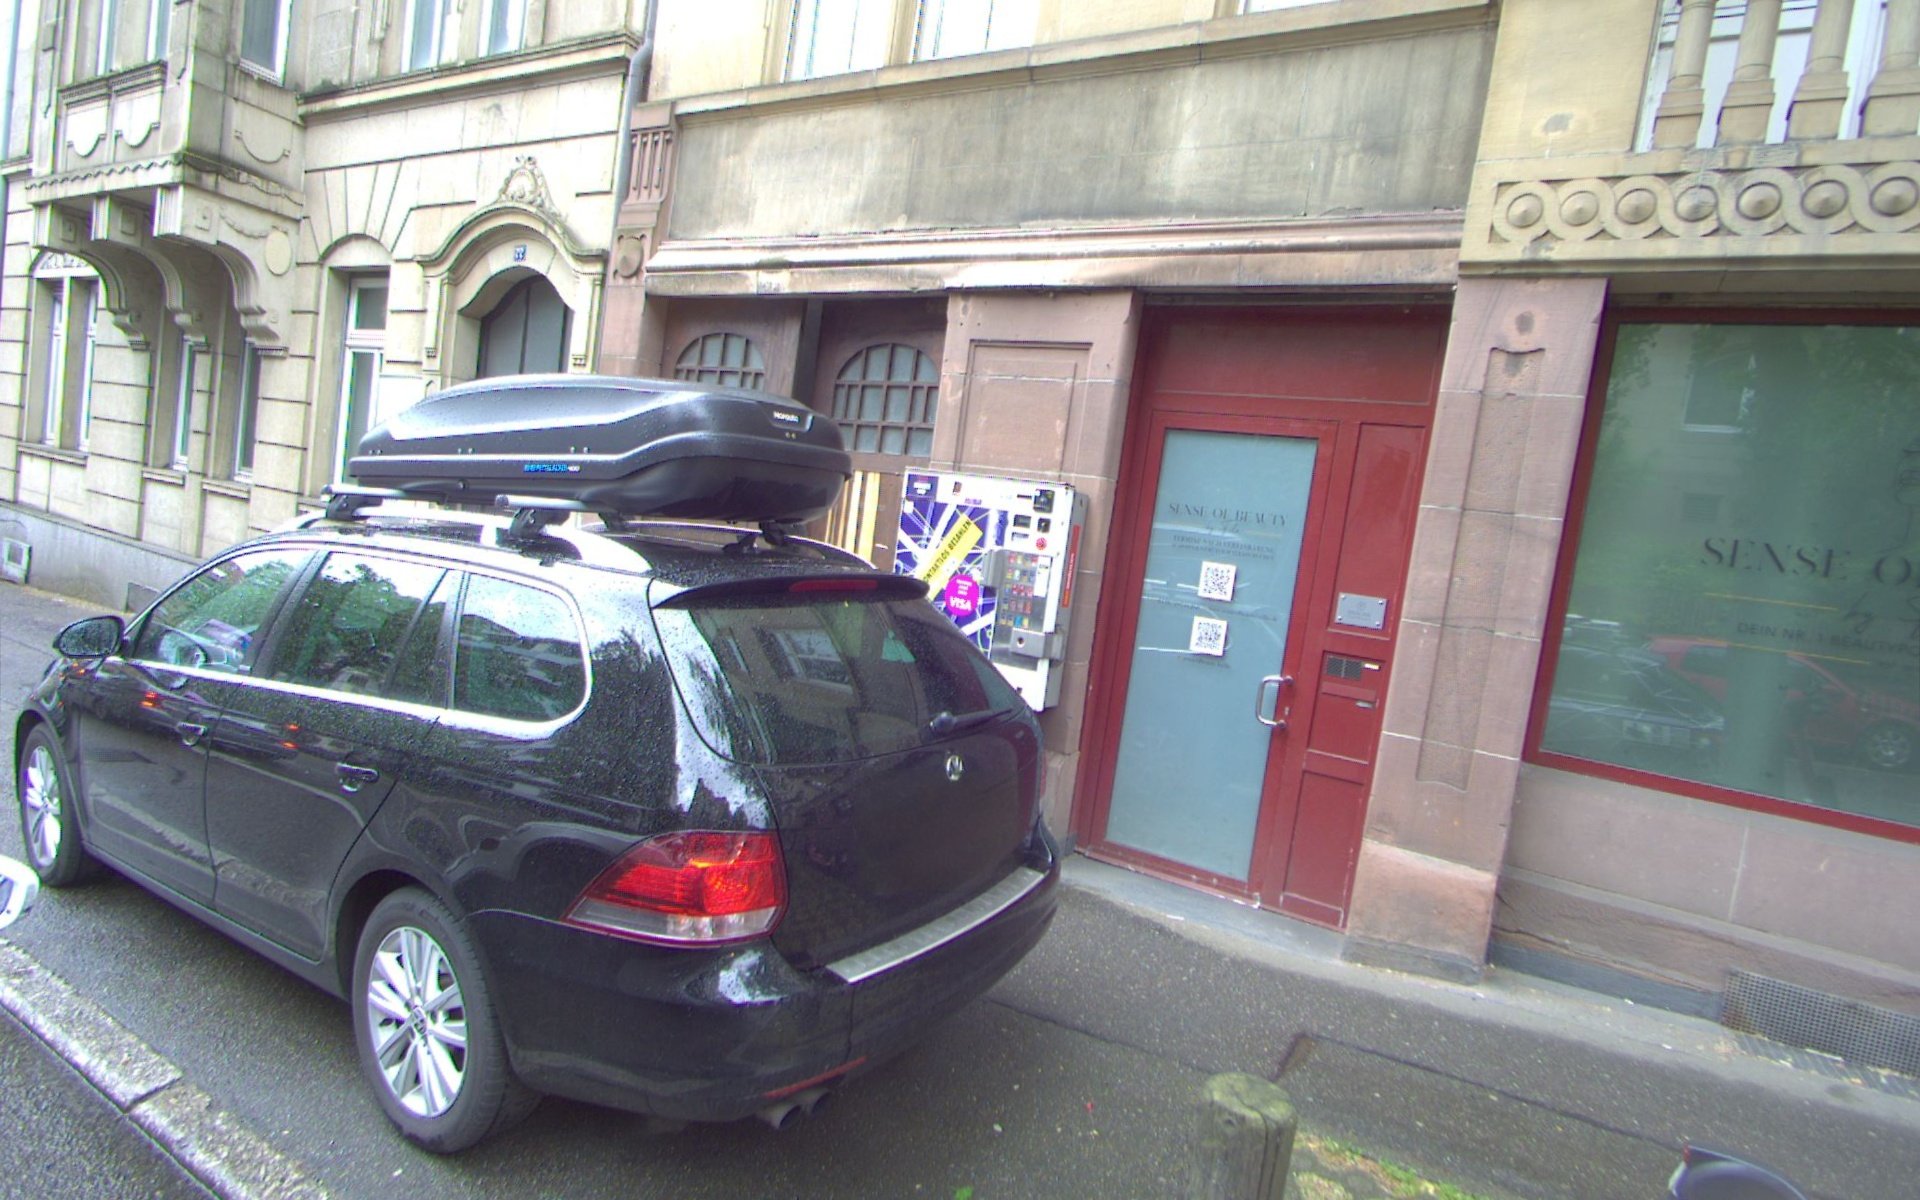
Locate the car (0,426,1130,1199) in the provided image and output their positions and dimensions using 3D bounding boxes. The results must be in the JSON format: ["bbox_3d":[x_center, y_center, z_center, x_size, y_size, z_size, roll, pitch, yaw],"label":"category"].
[{"bbox_3d":[-1.687,0.362,3.532,4.031,1.675,1.757,7,6,32],"label":"car"}]

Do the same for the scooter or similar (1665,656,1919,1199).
[{"bbox_3d":[2.170,0.852,1.909,1.183,1.336,0.593,7,3,32],"label":"scooter or similar"}]
